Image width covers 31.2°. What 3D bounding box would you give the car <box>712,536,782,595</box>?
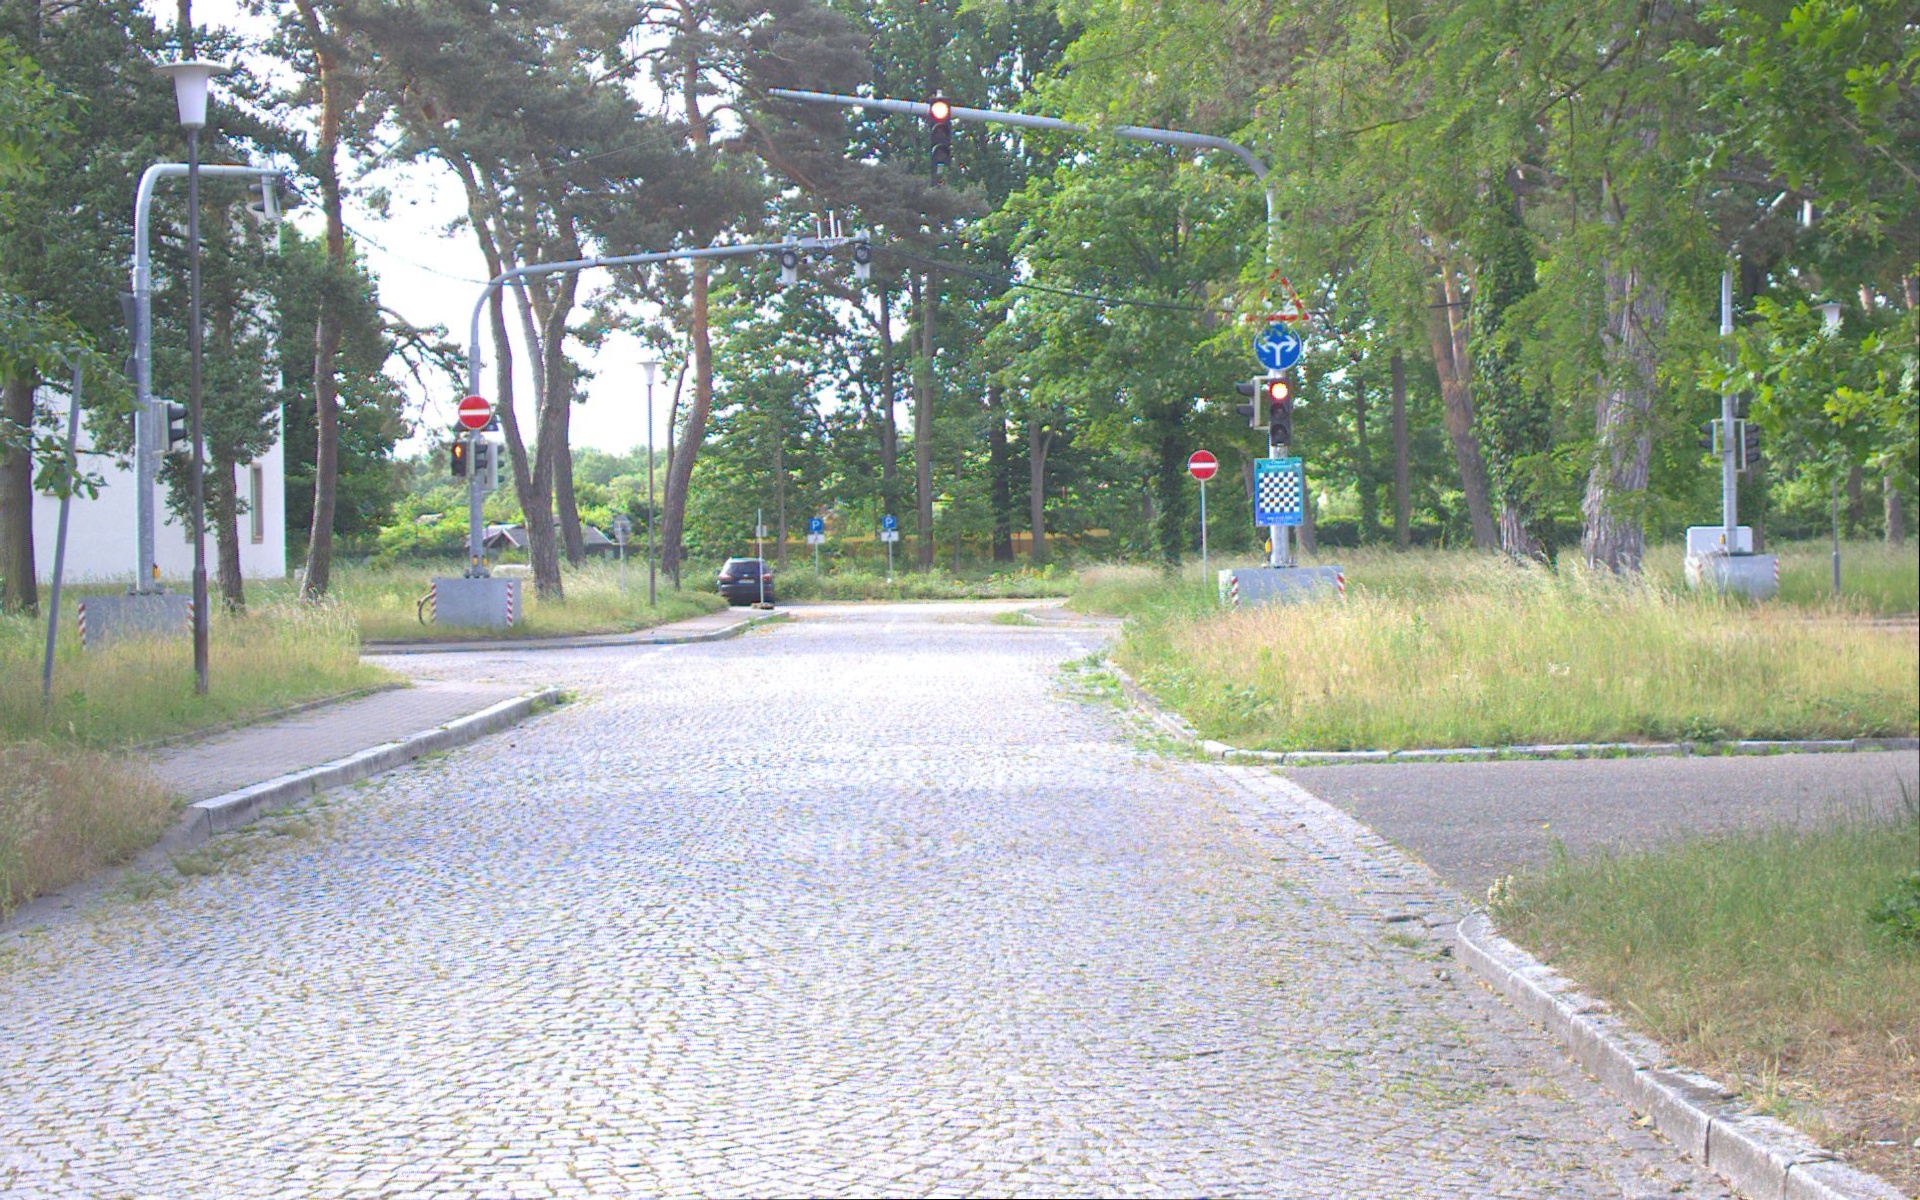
[{"bbox_3d":[-6.873,-1.137,111.295,2.056,1.840,4.000,-1,1,-1],"label":"car"}]
